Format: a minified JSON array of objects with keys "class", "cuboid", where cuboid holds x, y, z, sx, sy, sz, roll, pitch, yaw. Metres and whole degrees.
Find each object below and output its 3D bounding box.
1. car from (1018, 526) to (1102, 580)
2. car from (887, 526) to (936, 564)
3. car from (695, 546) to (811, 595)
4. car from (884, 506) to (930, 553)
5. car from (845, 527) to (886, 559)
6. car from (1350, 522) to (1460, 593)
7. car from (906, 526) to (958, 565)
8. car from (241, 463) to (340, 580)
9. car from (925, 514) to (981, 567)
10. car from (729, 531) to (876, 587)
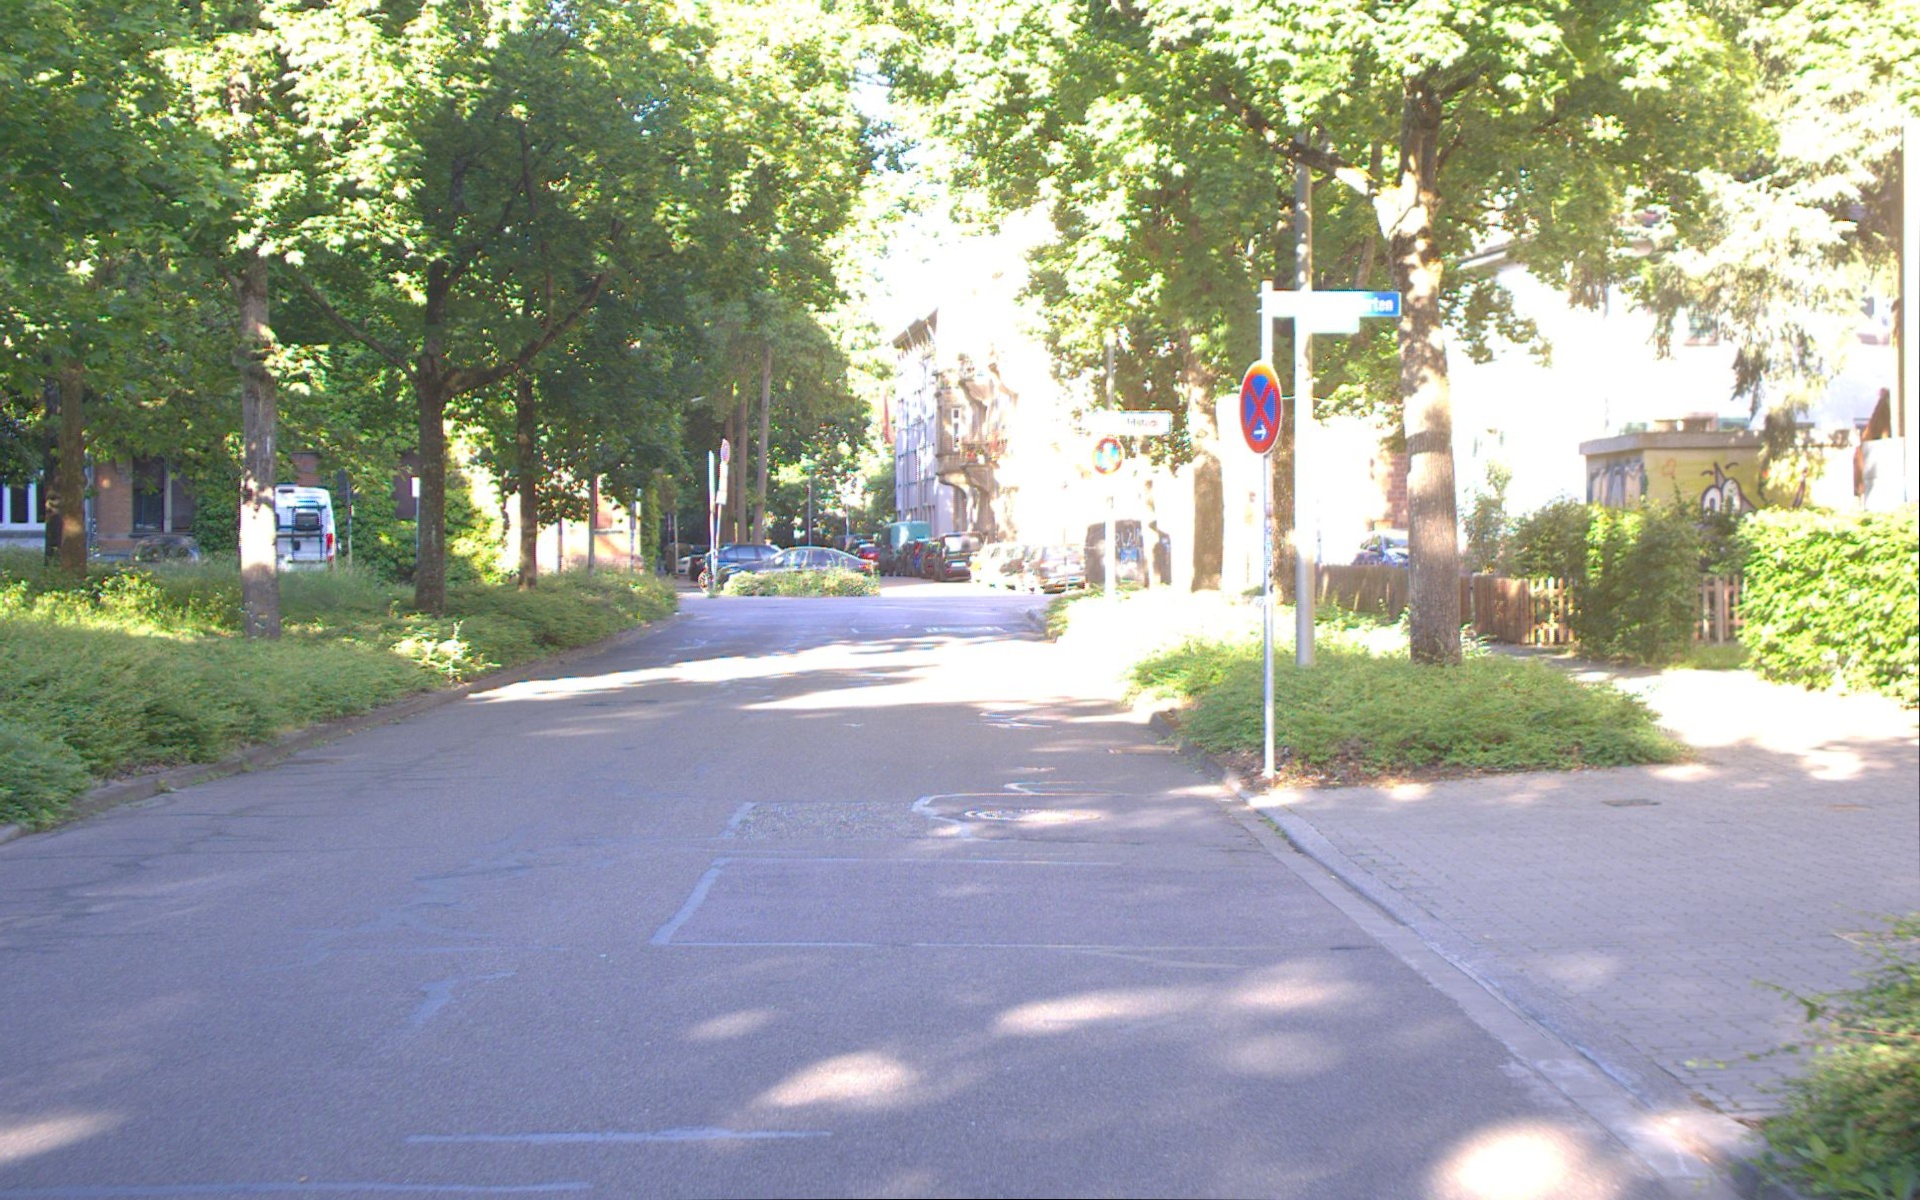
[{"class":"car","cuboid":[2.884,-1.382,99.579,1.811,1.496,4.001,-1,1,-8]},{"class":"car","cuboid":[-2.030,-2.303,143.157,1.811,1.496,4.001,1,1,-4]},{"class":"car","cuboid":[-6.634,-0.949,109.982,3.586,1.505,1.500,1,1,-8]},{"class":"car","cuboid":[-2.393,-3.138,153.295,1.811,2.043,4.001,1,1,-4]},{"class":"car","cuboid":[-4.690,-2.830,170.289,1.811,1.496,4.001,1,1,-4]},{"class":"car","cuboid":[10.305,-1.000,79.822,1.993,1.579,3.640,1,1,-1]},{"class":"car","cuboid":[-1.141,-2.177,136.571,1.811,1.496,4.001,1,1,-4]},{"class":"car","cuboid":[-14.828,-1.731,76.327,1.993,2.499,4.001,1,1,-9]},{"class":"car","cuboid":[-0.265,-2.221,128.427,1.811,1.919,4.001,1,1,-4]},{"class":"car","cuboid":[-4.484,-1.159,97.751,3.986,1.496,1.818,1,1,-8]}]
